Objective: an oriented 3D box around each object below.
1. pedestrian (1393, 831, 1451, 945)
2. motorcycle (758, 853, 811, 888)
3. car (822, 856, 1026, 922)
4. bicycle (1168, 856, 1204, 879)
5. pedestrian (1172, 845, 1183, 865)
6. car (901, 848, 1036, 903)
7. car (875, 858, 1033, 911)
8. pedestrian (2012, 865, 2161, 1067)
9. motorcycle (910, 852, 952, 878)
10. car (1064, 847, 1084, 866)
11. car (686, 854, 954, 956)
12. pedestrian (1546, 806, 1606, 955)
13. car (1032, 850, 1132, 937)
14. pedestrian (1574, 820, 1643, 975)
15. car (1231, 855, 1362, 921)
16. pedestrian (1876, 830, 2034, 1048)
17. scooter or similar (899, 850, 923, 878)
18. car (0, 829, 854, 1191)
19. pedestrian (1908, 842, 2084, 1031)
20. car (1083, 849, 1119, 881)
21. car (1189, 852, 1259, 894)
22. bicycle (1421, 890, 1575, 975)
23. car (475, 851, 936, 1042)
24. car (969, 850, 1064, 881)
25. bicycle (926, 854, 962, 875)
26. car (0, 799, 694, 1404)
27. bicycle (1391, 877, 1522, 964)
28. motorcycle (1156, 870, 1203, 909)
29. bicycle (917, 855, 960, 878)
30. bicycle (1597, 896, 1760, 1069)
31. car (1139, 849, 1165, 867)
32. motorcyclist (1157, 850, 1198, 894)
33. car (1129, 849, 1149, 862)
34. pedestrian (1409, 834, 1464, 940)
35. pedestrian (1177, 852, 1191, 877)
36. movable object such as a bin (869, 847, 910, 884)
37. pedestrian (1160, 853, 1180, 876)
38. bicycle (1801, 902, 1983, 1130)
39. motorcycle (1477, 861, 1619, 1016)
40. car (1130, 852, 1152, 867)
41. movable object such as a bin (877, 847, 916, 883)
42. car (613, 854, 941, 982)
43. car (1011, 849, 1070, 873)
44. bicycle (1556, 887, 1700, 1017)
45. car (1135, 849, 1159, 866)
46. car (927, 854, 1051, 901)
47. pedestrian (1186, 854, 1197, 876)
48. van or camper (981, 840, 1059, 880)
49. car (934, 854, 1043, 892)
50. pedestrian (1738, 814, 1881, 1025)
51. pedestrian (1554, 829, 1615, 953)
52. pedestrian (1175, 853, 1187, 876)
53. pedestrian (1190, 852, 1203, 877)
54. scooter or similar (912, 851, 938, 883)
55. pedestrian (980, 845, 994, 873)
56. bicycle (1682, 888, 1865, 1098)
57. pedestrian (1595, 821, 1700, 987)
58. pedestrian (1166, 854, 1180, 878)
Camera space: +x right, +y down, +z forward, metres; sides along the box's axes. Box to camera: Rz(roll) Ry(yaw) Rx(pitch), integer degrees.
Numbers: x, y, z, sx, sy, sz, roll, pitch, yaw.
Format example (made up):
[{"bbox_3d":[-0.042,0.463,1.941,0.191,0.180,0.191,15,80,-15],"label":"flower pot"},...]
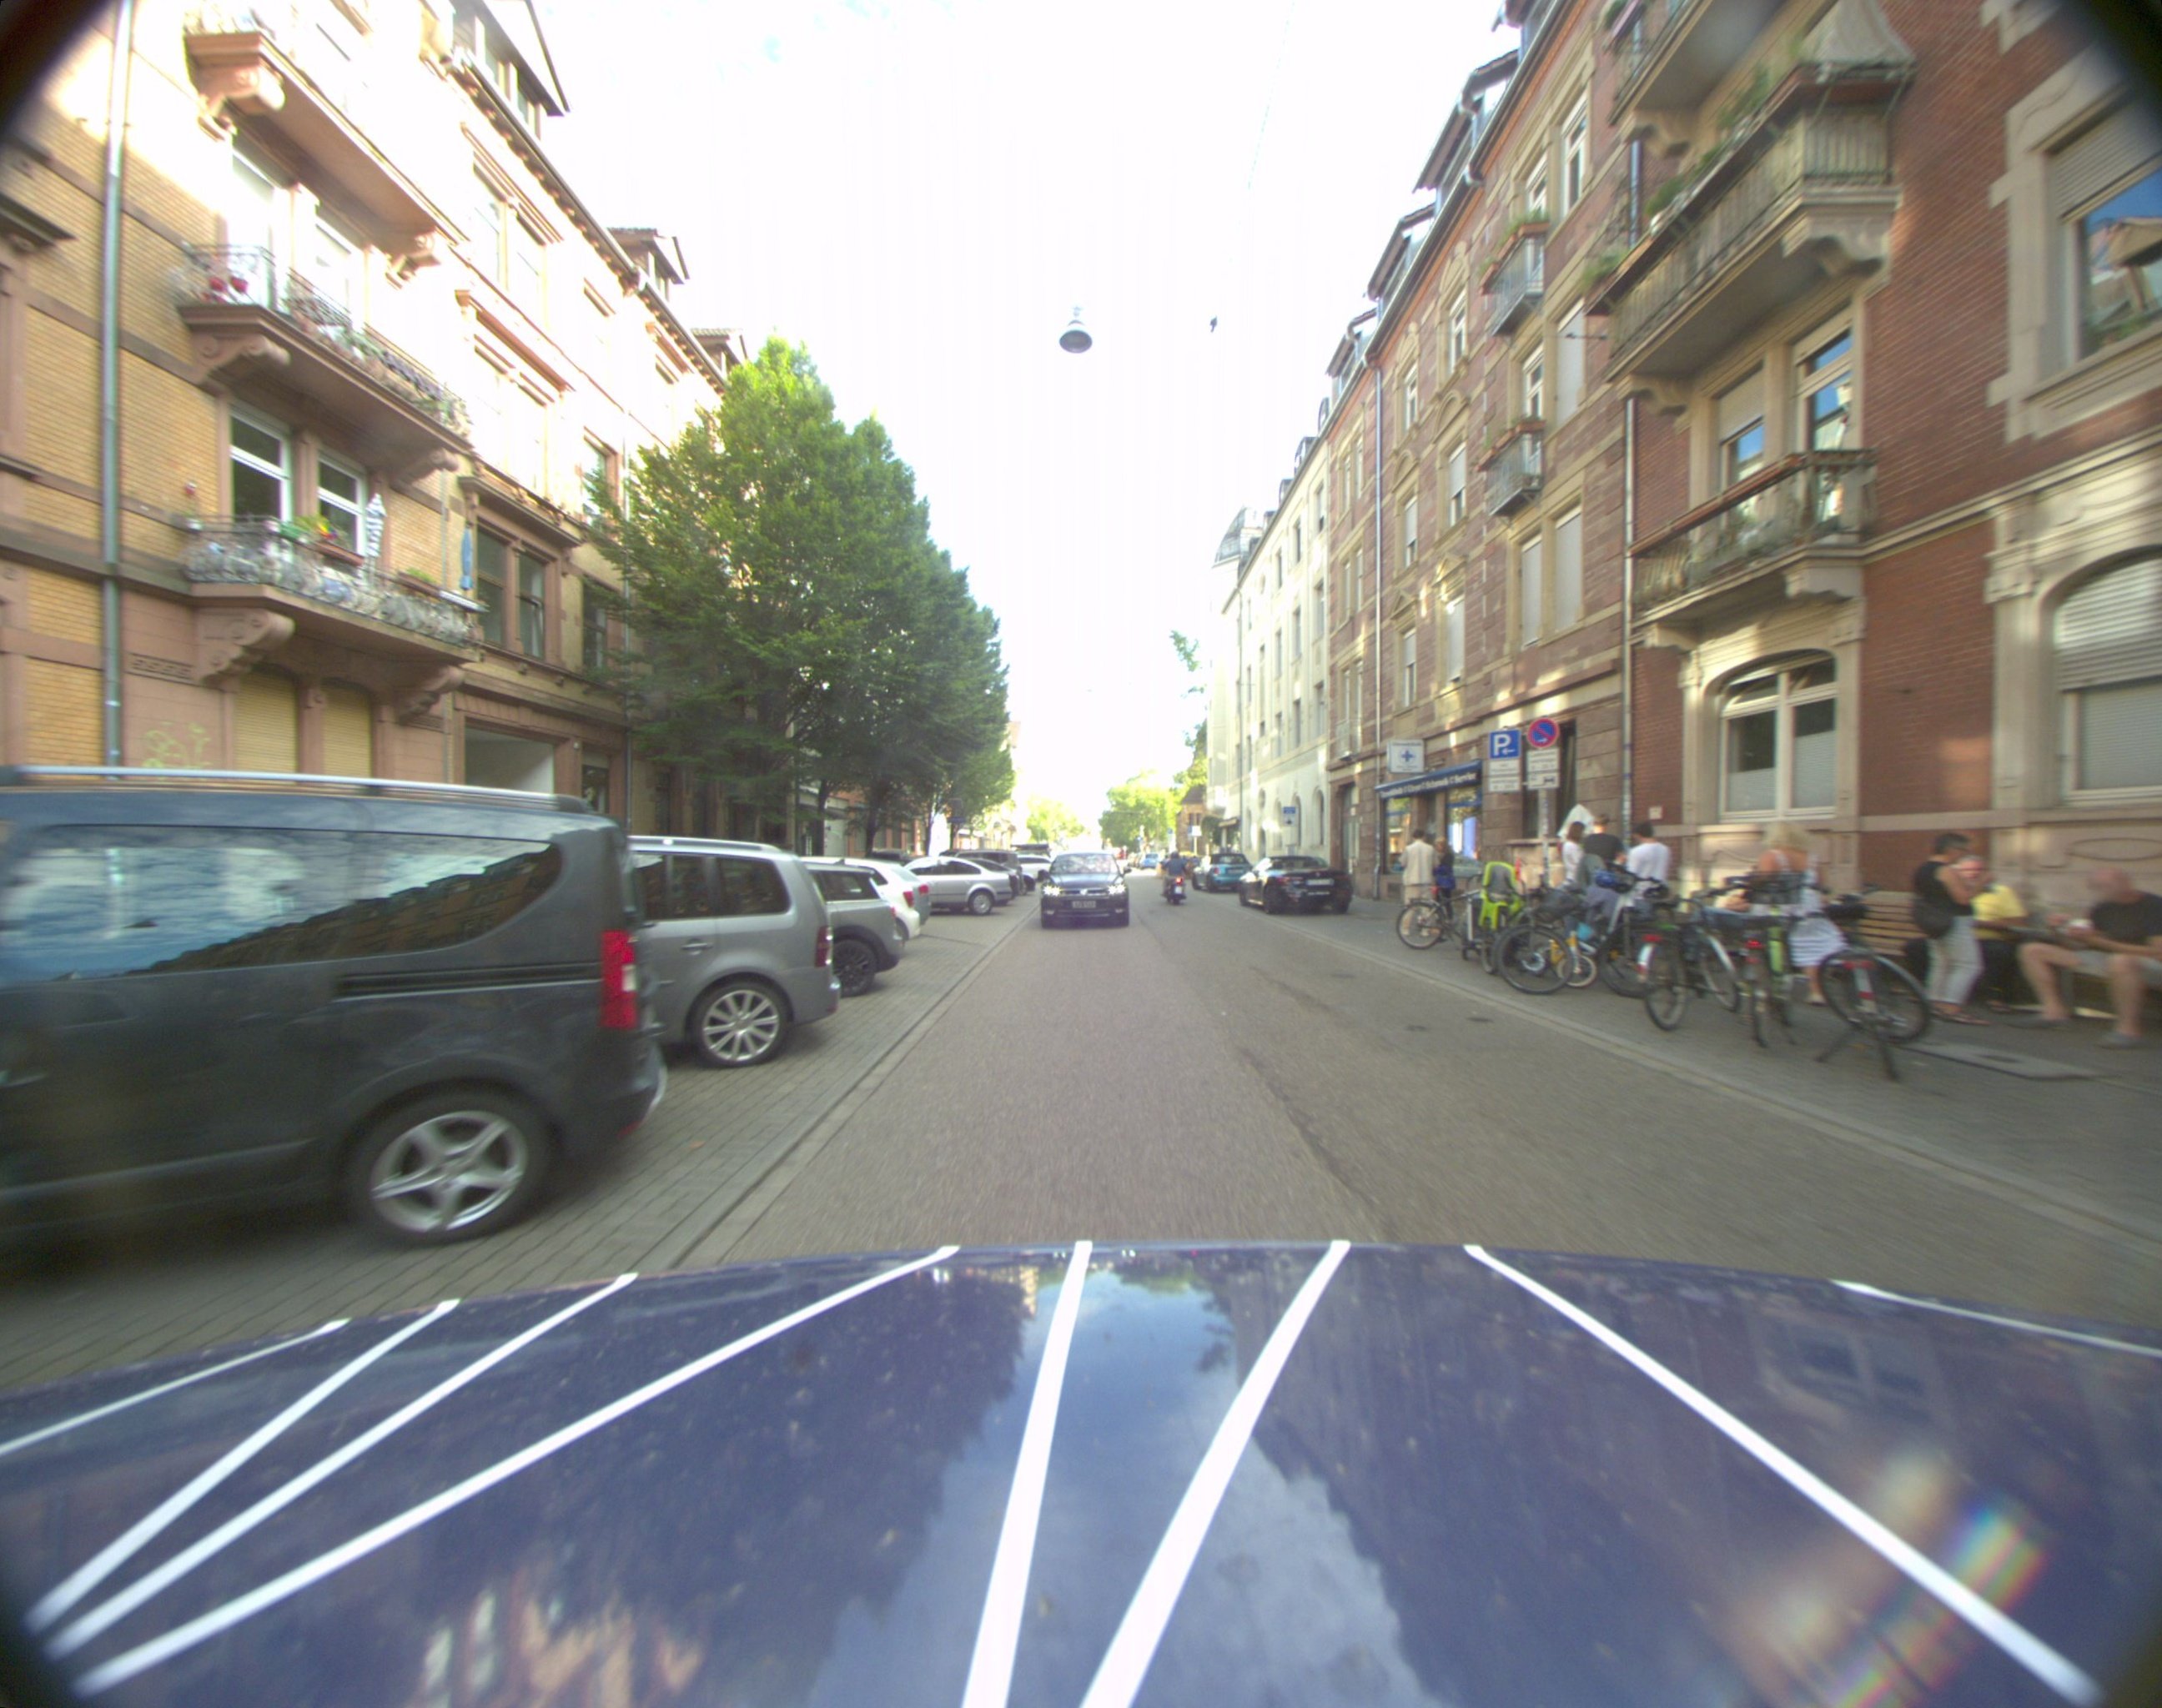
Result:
[{"bbox_3d":[5.651,0.543,12.578,0.761,1.808,0.667,-1,1,31],"label":"pedestrian"},{"bbox_3d":[-10.592,0.561,27.260,0.896,1.180,2.491,-2,1,0],"label":"motorcycle"},{"bbox_3d":[-3.851,0.826,18.903,4.620,1.443,1.788,1,0,-31],"label":"car"},{"bbox_3d":[5.705,0.721,41.450,1.872,1.168,0.688,-2,1,3],"label":"bicycle"},{"bbox_3d":[8.398,0.055,66.298,0.845,1.699,0.879,-2,1,1],"label":"pedestrian"},{"bbox_3d":[-3.693,0.683,25.179,4.007,1.689,1.848,0,0,-34],"label":"car"},{"bbox_3d":[-3.674,0.817,22.251,4.145,1.409,1.864,0,0,-34],"label":"car"},{"bbox_3d":[7.256,0.742,5.327,0.725,1.306,0.606,-2,1,-3],"label":"pedestrian"},{"bbox_3d":[-7.874,0.579,39.933,1.984,1.220,0.827,3,1,-1],"label":"motorcycle"},{"bbox_3d":[-0.728,0.281,81.800,1.810,1.914,4.000,-2,0,2],"label":"car"},{"bbox_3d":[-4.459,0.789,13.169,4.008,1.453,1.882,1,1,-35],"label":"car"},{"bbox_3d":[6.908,0.356,10.619,0.643,2.002,0.631,-1,1,29],"label":"pedestrian"},{"bbox_3d":[0.171,0.774,17.157,1.874,1.644,4.388,-2,1,5],"label":"car"},{"bbox_3d":[6.665,0.530,9.628,0.646,1.881,0.602,-1,1,31],"label":"pedestrian"},{"bbox_3d":[5.174,0.742,19.047,1.816,1.343,5.114,-1,0,0],"label":"car"},{"bbox_3d":[6.808,0.634,5.945,0.554,1.607,0.584,-2,1,1],"label":"pedestrian"},{"bbox_3d":[-8.644,0.500,38.561,0.526,1.306,1.317,3,1,-44],"label":"scooter or similar"},{"bbox_3d":[-3.877,0.760,5.412,4.007,1.731,1.835,1,0,-30],"label":"car"},{"bbox_3d":[7.498,0.643,6.267,0.605,1.461,0.726,-1,1,11],"label":"pedestrian"},{"bbox_3d":[1.132,0.595,42.309,1.810,1.622,4.000,-2,0,2],"label":"car"},{"bbox_3d":[5.302,0.647,28.648,1.674,1.407,4.011,-2,0,-3],"label":"car"},{"bbox_3d":[5.328,0.988,9.802,1.683,1.024,0.410,-1,1,21],"label":"bicycle"},{"bbox_3d":[-3.815,0.801,8.089,4.008,1.539,1.864,2,0,-36],"label":"car"},{"bbox_3d":[-3.481,0.643,41.465,4.817,1.535,1.866,1,1,-31],"label":"car"},{"bbox_3d":[-7.818,0.591,43.499,1.896,1.113,0.618,3,1,-2],"label":"bicycle"},{"bbox_3d":[-3.984,0.716,2.819,4.411,1.812,1.750,1,1,-31],"label":"car"},{"bbox_3d":[5.226,0.895,10.627,1.577,1.110,0.375,-1,1,40],"label":"bicycle"},{"bbox_3d":[2.862,1.011,22.259,0.796,0.989,2.498,-2,0,-6],"label":"motorcycle"},{"bbox_3d":[-7.331,0.637,39.115,2.025,1.089,0.820,4,1,0],"label":"bicycle"},{"bbox_3d":[4.814,0.952,6.091,1.573,1.114,0.589,-2,1,-35],"label":"bicycle"},{"bbox_3d":[6.063,0.337,65.088,1.828,1.477,4.170,-2,0,1],"label":"car"},{"bbox_3d":[2.833,0.509,22.377,1.016,1.238,0.802,-2,1,-5],"label":"motorcyclist"},{"bbox_3d":[6.462,0.168,84.643,1.911,1.412,4.000,-2,0,1],"label":"car"},{"bbox_3d":[6.125,0.549,13.082,0.761,1.749,0.667,-1,1,31],"label":"pedestrian"},{"bbox_3d":[5.756,0.556,42.574,0.689,1.365,0.739,-1,1,5],"label":"pedestrian"},{"bbox_3d":[-8.214,0.481,32.658,1.375,1.451,1.164,7,1,-2],"label":"movable object such as a bin"},{"bbox_3d":[5.361,0.642,45.763,1.088,1.365,0.895,-1,1,9],"label":"pedestrian"},{"bbox_3d":[5.246,0.933,4.880,1.741,1.114,0.554,-2,1,-35],"label":"bicycle"},{"bbox_3d":[4.814,0.788,7.990,0.708,1.376,2.026,-2,1,15],"label":"motorcycle"},{"bbox_3d":[6.126,0.578,77.546,1.911,1.412,4.000,-2,0,1],"label":"car"},{"bbox_3d":[-8.202,0.480,33.781,1.375,1.438,1.037,5,1,-2],"label":"movable object such as a bin"},{"bbox_3d":[-4.228,0.831,10.737,4.008,1.442,1.731,2,1,-31],"label":"car"},{"bbox_3d":[-3.108,0.536,57.865,4.006,1.663,1.923,-2,1,-31],"label":"car"},{"bbox_3d":[5.500,0.926,7.762,0.579,1.084,1.740,-2,1,14],"label":"bicycle"},{"bbox_3d":[6.150,0.316,70.815,1.911,1.412,4.000,-2,0,1],"label":"car"},{"bbox_3d":[-3.364,0.806,28.006,4.133,1.512,1.840,-2,2,-36],"label":"car"},{"bbox_3d":[6.391,0.646,43.835,0.597,1.236,0.694,-1,1,8],"label":"pedestrian"},{"bbox_3d":[-3.518,0.329,44.005,4.006,2.166,1.995,-2,1,-29],"label":"van or camper"},{"bbox_3d":[-3.719,0.757,30.648,4.006,1.430,1.721,1,0,-26],"label":"car"},{"bbox_3d":[6.366,0.547,6.682,0.605,1.741,0.726,-1,1,11],"label":"pedestrian"},{"bbox_3d":[7.361,0.526,11.134,0.688,1.749,0.667,-1,1,31],"label":"pedestrian"},{"bbox_3d":[5.771,0.615,43.951,0.668,1.328,0.740,-1,1,8],"label":"pedestrian"},{"bbox_3d":[6.431,0.592,42.461,0.637,1.364,0.684,-1,1,5],"label":"pedestrian"},{"bbox_3d":[-6.931,0.586,33.837,0.524,1.372,1.323,-1,1,15],"label":"scooter or similar"},{"bbox_3d":[-6.101,0.330,49.285,0.754,1.729,0.952,3,1,-3],"label":"pedestrian"},{"bbox_3d":[5.020,0.899,5.471,1.794,1.193,0.589,-2,1,-35],"label":"bicycle"},{"bbox_3d":[6.296,0.528,8.494,0.605,1.741,0.946,-1,1,13],"label":"pedestrian"},{"bbox_3d":[5.218,0.666,43.163,0.738,1.341,0.644,-2,1,3],"label":"pedestrian"}]
